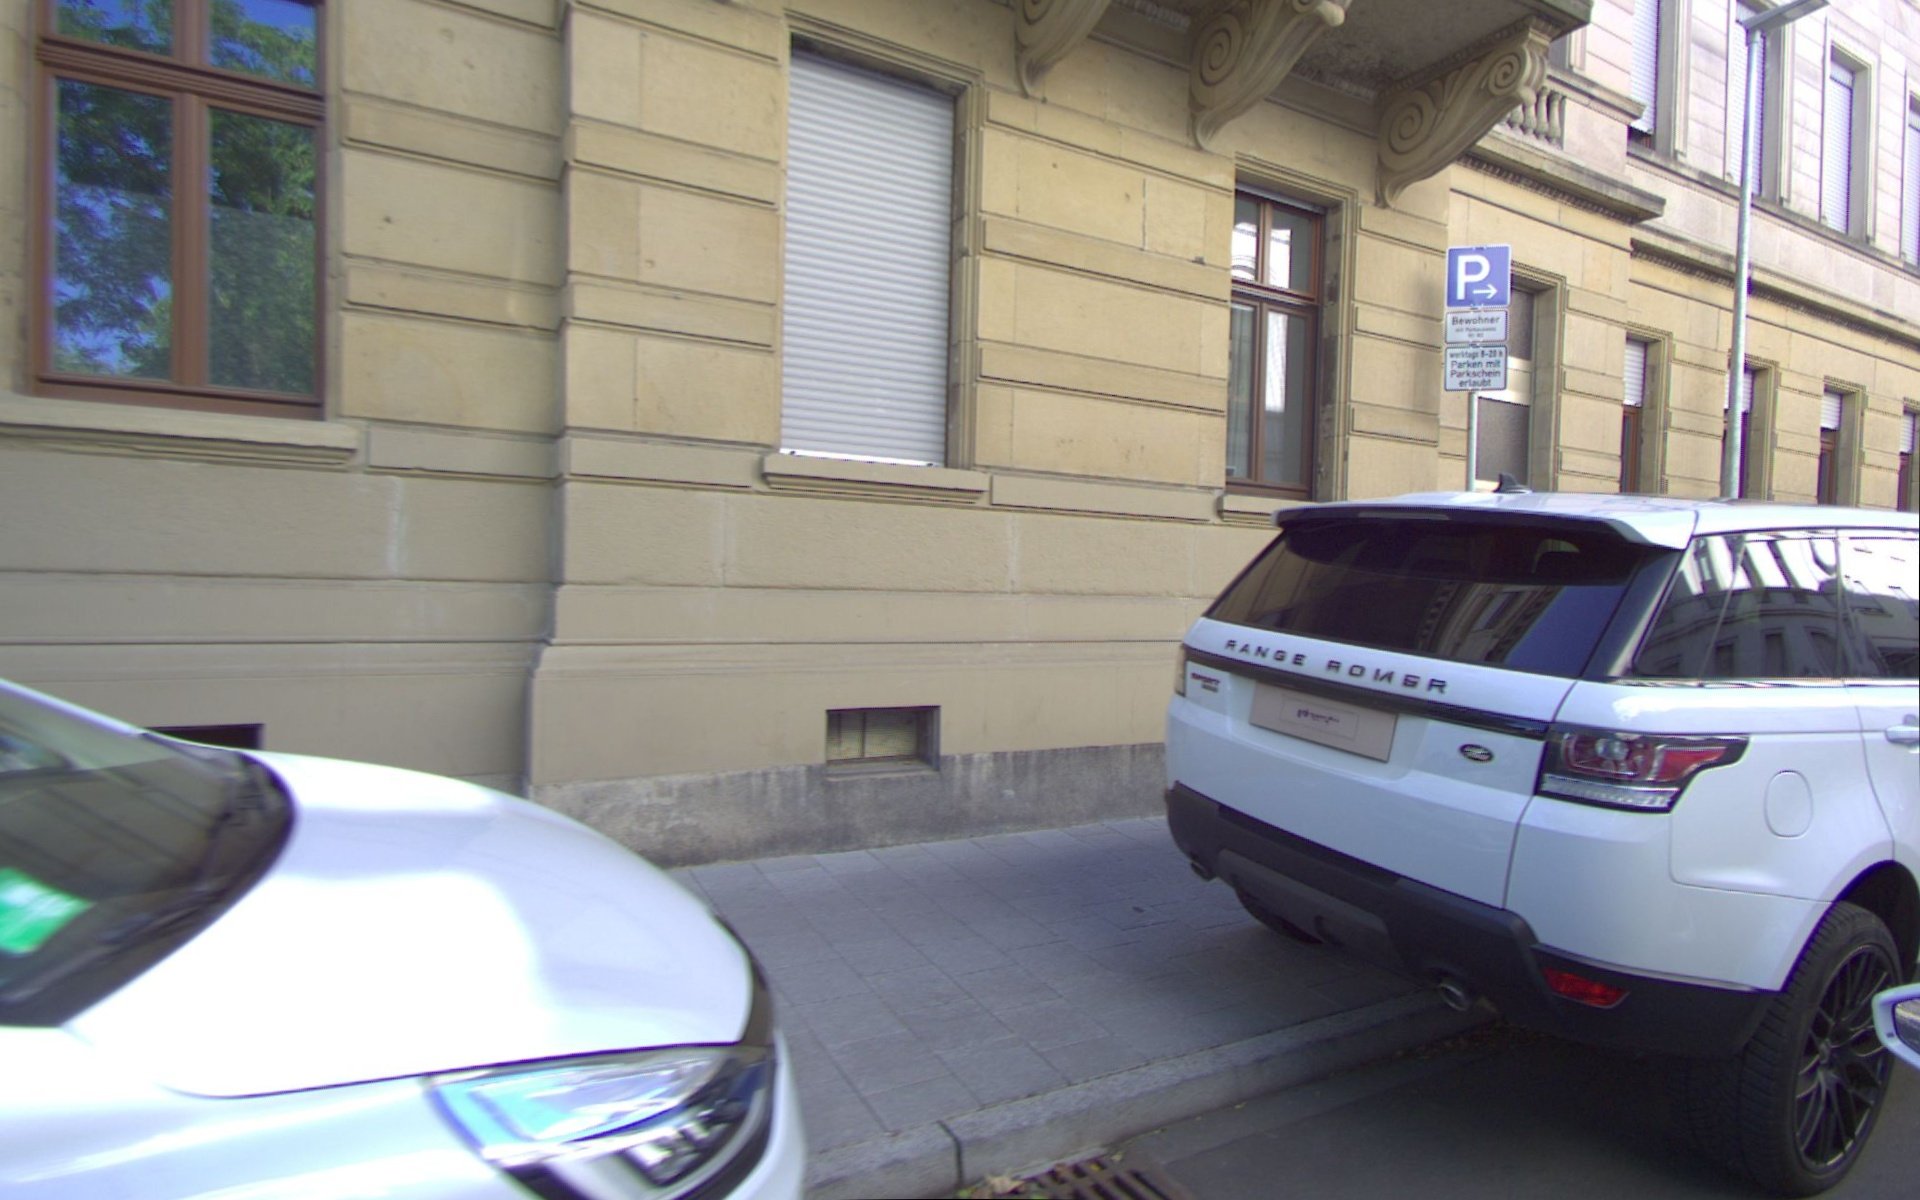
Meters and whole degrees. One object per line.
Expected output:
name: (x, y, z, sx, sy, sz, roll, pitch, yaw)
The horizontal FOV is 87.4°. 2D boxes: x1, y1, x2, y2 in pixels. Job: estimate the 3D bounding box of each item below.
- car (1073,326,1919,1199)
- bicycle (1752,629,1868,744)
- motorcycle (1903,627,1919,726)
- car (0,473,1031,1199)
car: (2.882, 0.510, 3.967, 4.487, 2.040, 2.013, 1, 0, -29)
bicycle: (9.083, 0.897, 10.724, 1.490, 1.141, 0.430, 1, 1, -30)
motorcycle: (12.608, 0.956, 12.661, 2.096, 1.201, 0.430, 1, 1, -30)
car: (-2.064, 0.604, 1.305, 3.896, 1.582, 1.857, 2, 2, -30)
